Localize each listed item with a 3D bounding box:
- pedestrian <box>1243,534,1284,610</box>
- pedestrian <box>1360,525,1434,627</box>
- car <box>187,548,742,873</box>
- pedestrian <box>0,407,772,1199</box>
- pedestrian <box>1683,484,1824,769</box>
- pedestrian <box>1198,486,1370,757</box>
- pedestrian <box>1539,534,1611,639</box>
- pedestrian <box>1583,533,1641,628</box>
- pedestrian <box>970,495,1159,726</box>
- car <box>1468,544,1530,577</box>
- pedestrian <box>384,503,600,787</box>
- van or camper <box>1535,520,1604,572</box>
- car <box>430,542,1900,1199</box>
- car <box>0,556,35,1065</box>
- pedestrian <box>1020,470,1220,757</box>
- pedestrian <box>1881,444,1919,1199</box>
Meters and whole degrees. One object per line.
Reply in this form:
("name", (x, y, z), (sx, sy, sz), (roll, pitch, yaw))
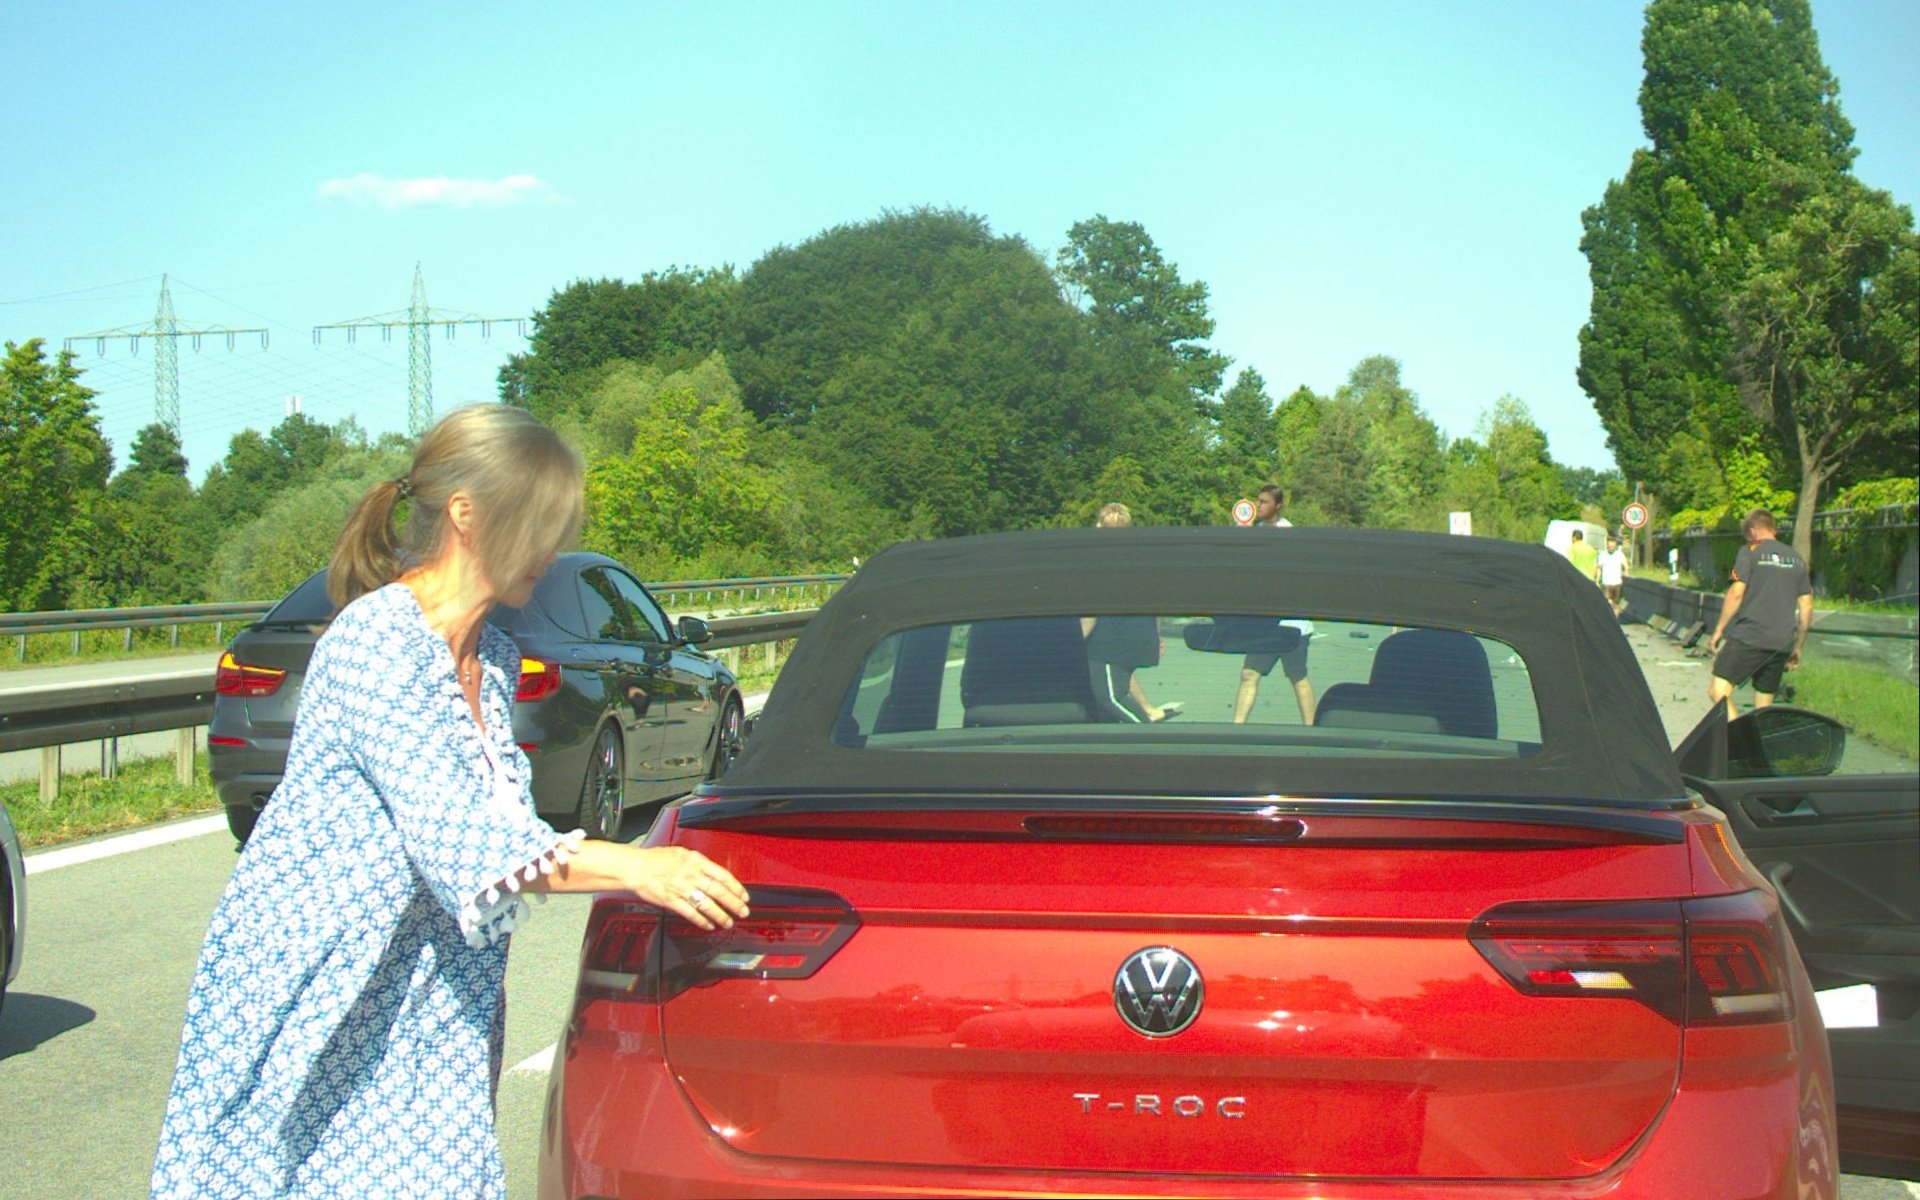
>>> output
("pedestrian", (6.780, -0.628, 76.791), (0.792, 1.683, 0.792), (1, 1, 13))
("pedestrian", (7.312, -0.404, 57.495), (1.114, 1.683, 0.973), (1, 1, 12))
("car", (-2.371, 0.458, 17.586), (1.695, 1.421, 4.333), (1, 1, 7))
("pedestrian", (-0.765, 0.611, 4.382), (0.839, 1.677, 0.744), (-1, 1, -24))
("pedestrian", (5.013, 0.157, 21.698), (0.812, 1.753, 0.827), (1, 1, 15))
("pedestrian", (2.340, 0.142, 25.024), (1.105, 1.906, 1.257), (-1, 1, 0))
("pedestrian", (10.074, -0.221, 56.307), (1.056, 1.683, 1.016), (1, 1, 14))
("pedestrian", (11.713, -0.354, 61.789), (0.996, 1.683, 1.010), (1, 1, 11))
("pedestrian", (0.822, 0.075, 27.203), (1.088, 1.782, 1.108), (1, 1, -25))
("car", (24.710, -1.827, 157.523), (1.735, 1.482, 4.205), (1, 1, 24))
("pedestrian", (-2.973, 0.275, 21.961), (1.041, 1.757, 1.118), (-1, 1, 10))
("van or camper", (27.640, -2.429, 155.804), (1.996, 2.308, 4.464), (1, 1, 25))
("car", (0.486, 0.648, 6.161), (1.733, 1.482, 4.209), (1, 1, 7))
("car", (-3.787, 0.618, 7.945), (1.695, 1.436, 4.209), (1, 1, 7))
("pedestrian", (1.087, 0.079, 23.149), (1.066, 1.876, 1.092), (0, 1, 19))
("pedestrian", (2.056, 0.597, 5.145), (1.125, 1.689, 0.893), (-1, 1, 3))
